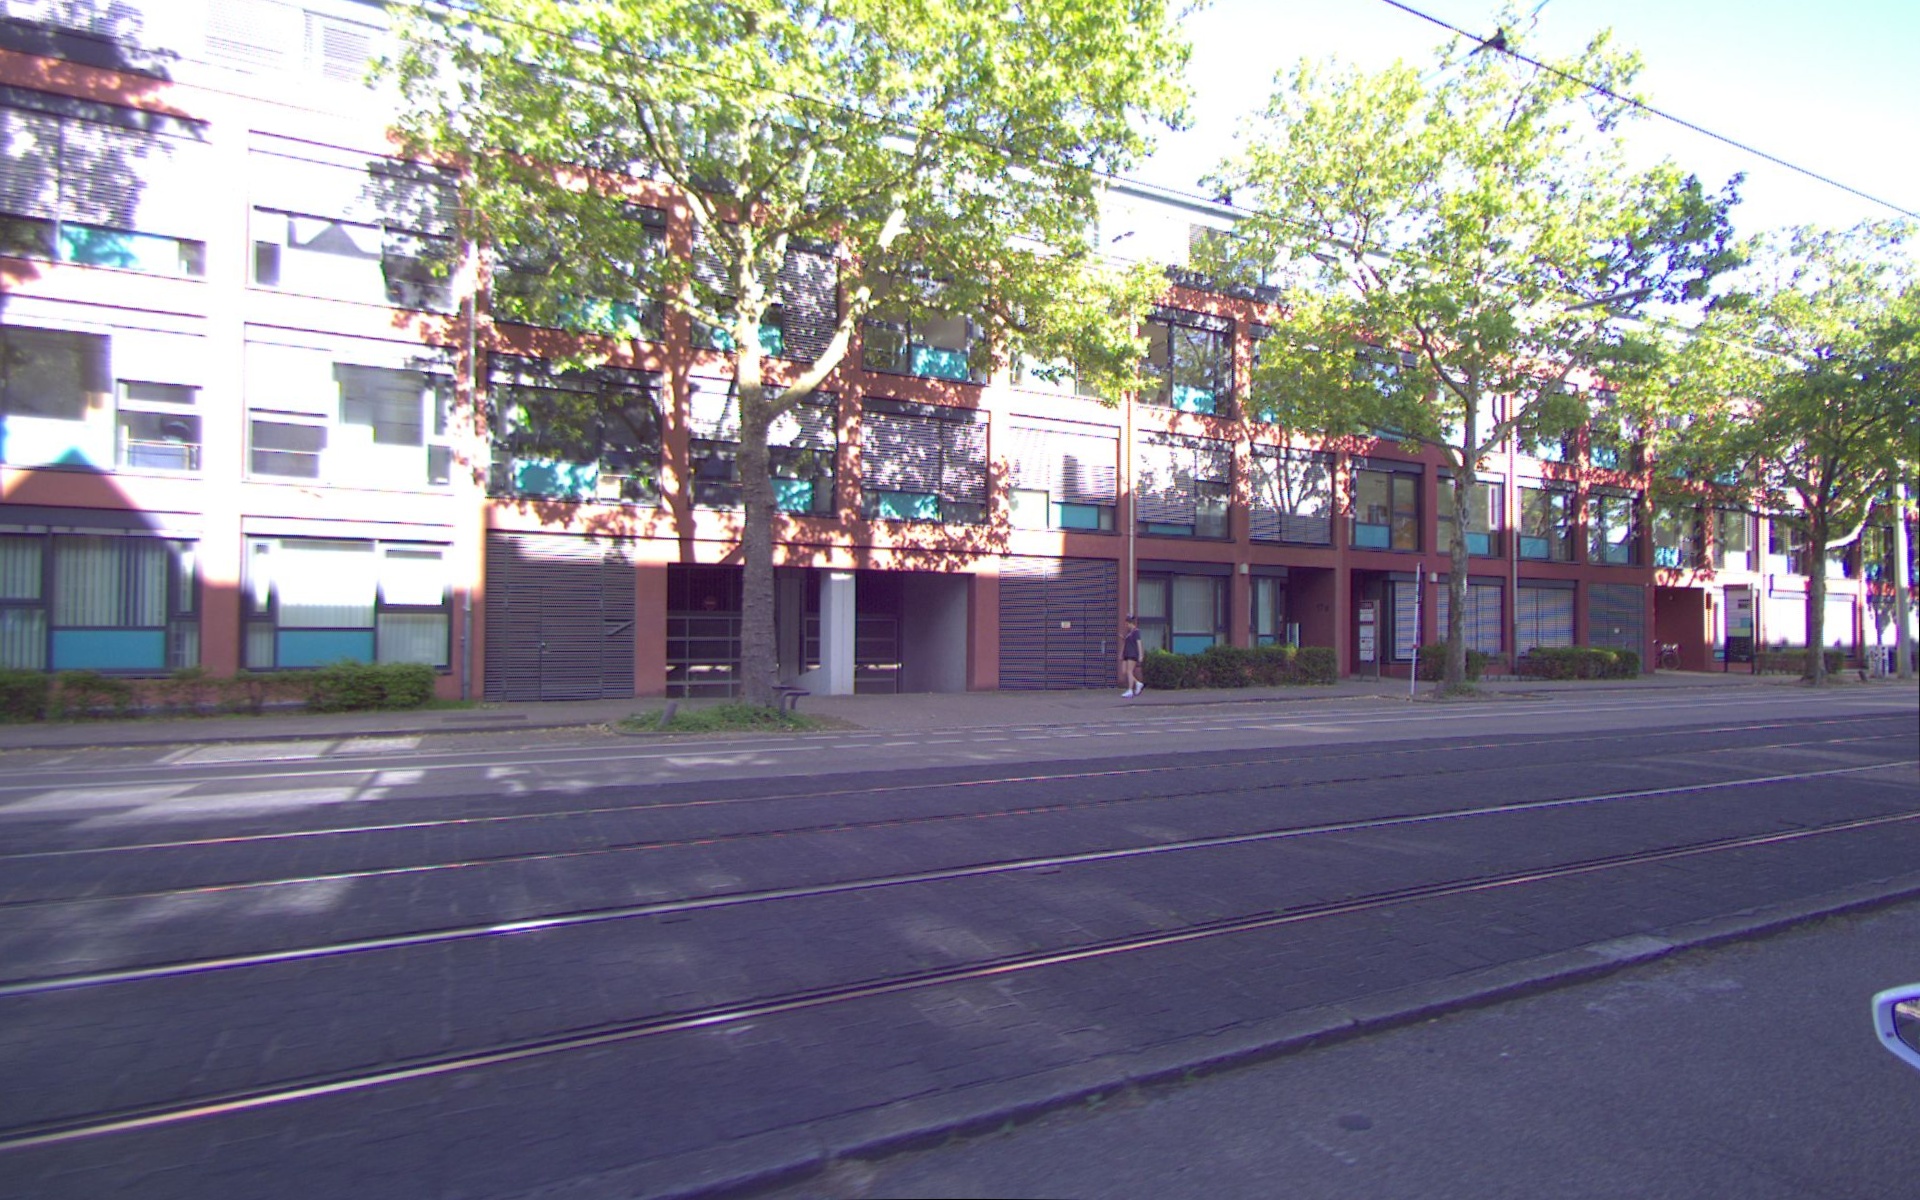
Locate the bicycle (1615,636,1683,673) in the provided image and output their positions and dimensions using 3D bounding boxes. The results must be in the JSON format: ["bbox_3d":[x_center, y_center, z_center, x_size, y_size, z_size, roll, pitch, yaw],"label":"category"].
[{"bbox_3d":[25.796,2.020,37.661,0.611,1.289,2.054,0,0,-28],"label":"bicycle"}]

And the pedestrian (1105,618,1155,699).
[{"bbox_3d":[3.753,1.267,22.166,0.889,1.741,0.623,1,0,-27],"label":"pedestrian"}]
